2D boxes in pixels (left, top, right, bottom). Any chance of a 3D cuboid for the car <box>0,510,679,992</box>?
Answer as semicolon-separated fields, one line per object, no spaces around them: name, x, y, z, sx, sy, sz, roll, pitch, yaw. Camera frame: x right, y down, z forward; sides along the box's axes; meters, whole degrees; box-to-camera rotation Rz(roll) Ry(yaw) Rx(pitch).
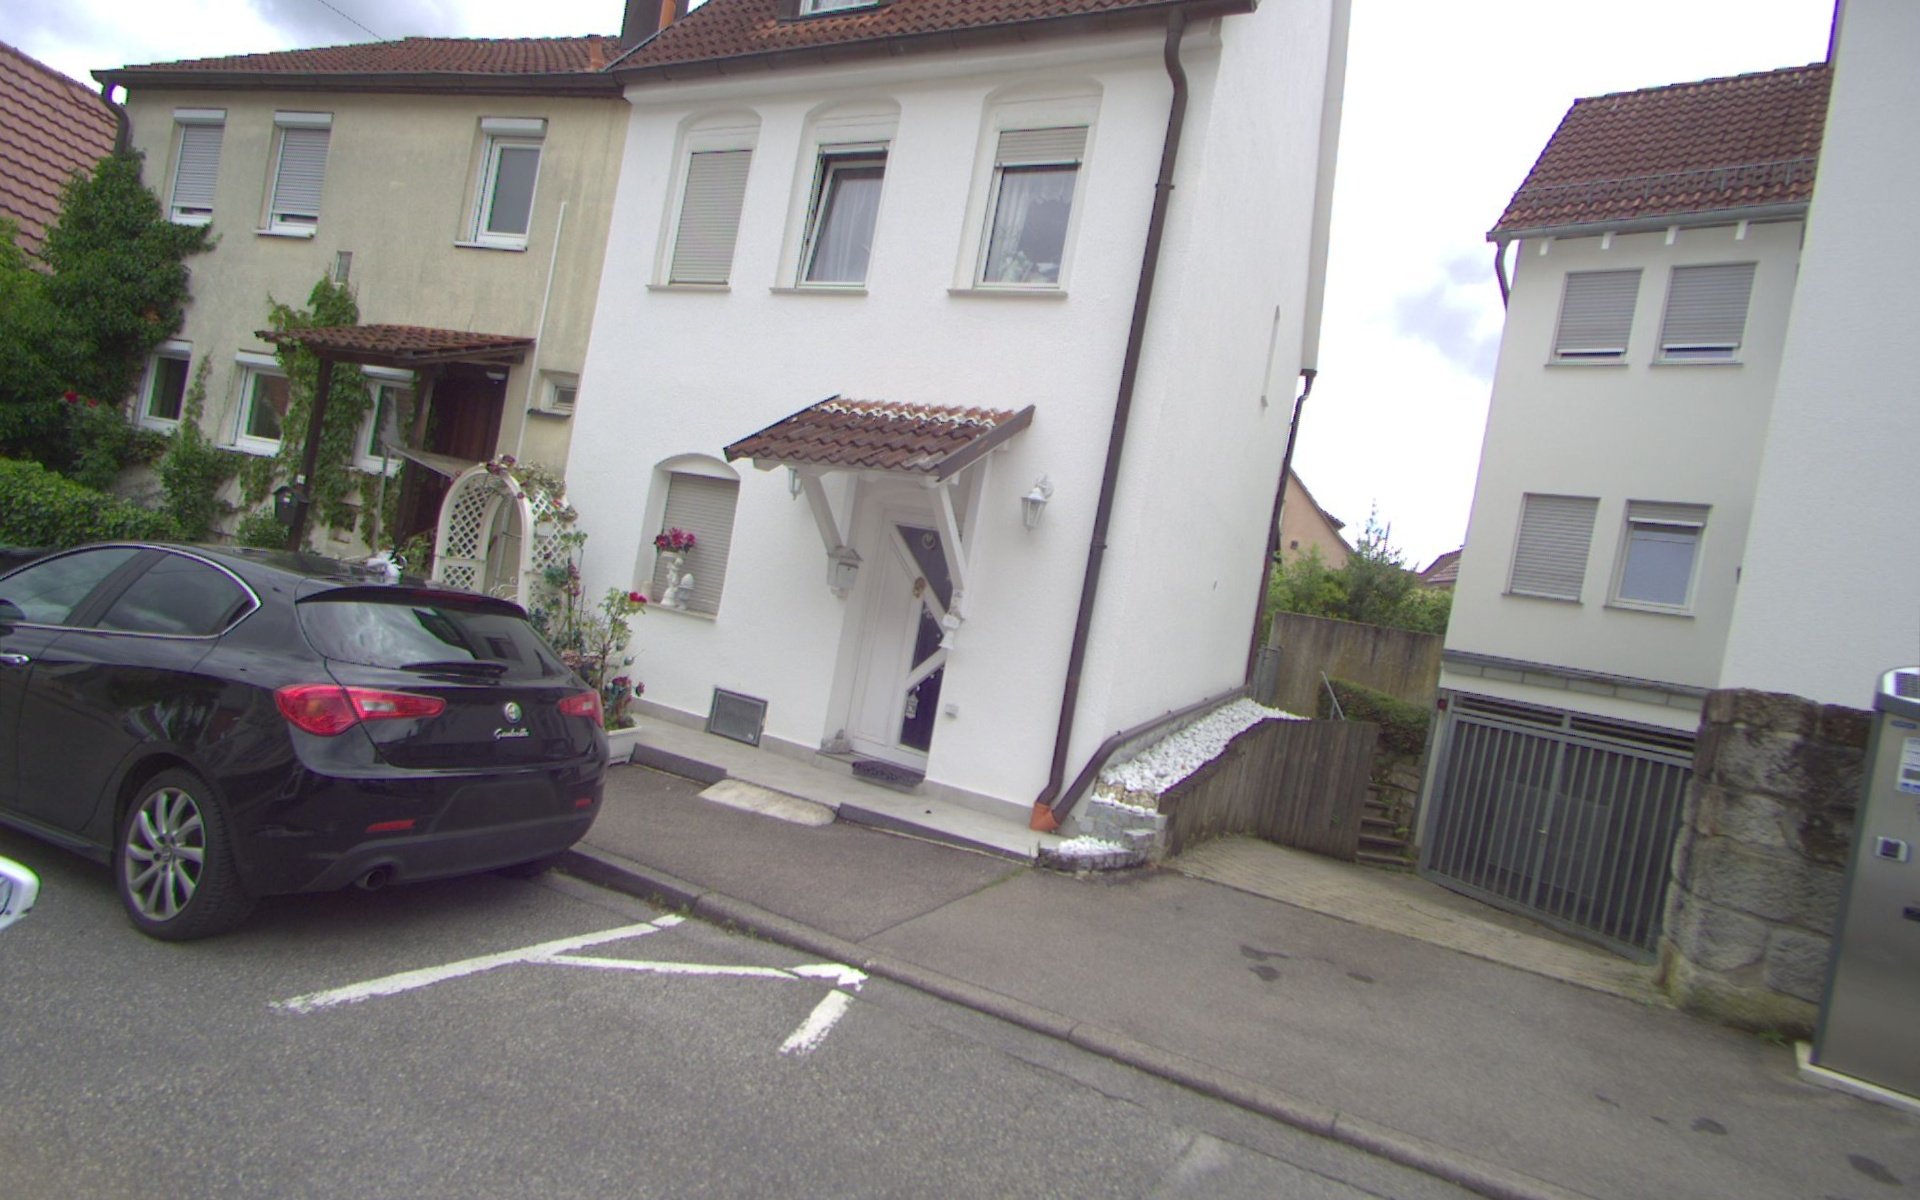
car;-3.585;0.442;4.888;3.930;1.422;1.725;7;-2;23

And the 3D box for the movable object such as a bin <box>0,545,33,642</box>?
movable object such as a bin;-9.484;-0.071;9.837;0.437;0.926;0.439;5;2;20

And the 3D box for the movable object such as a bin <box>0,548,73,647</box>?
movable object such as a bin;-8.974;-0.027;9.710;0.437;0.911;0.439;5;2;20
